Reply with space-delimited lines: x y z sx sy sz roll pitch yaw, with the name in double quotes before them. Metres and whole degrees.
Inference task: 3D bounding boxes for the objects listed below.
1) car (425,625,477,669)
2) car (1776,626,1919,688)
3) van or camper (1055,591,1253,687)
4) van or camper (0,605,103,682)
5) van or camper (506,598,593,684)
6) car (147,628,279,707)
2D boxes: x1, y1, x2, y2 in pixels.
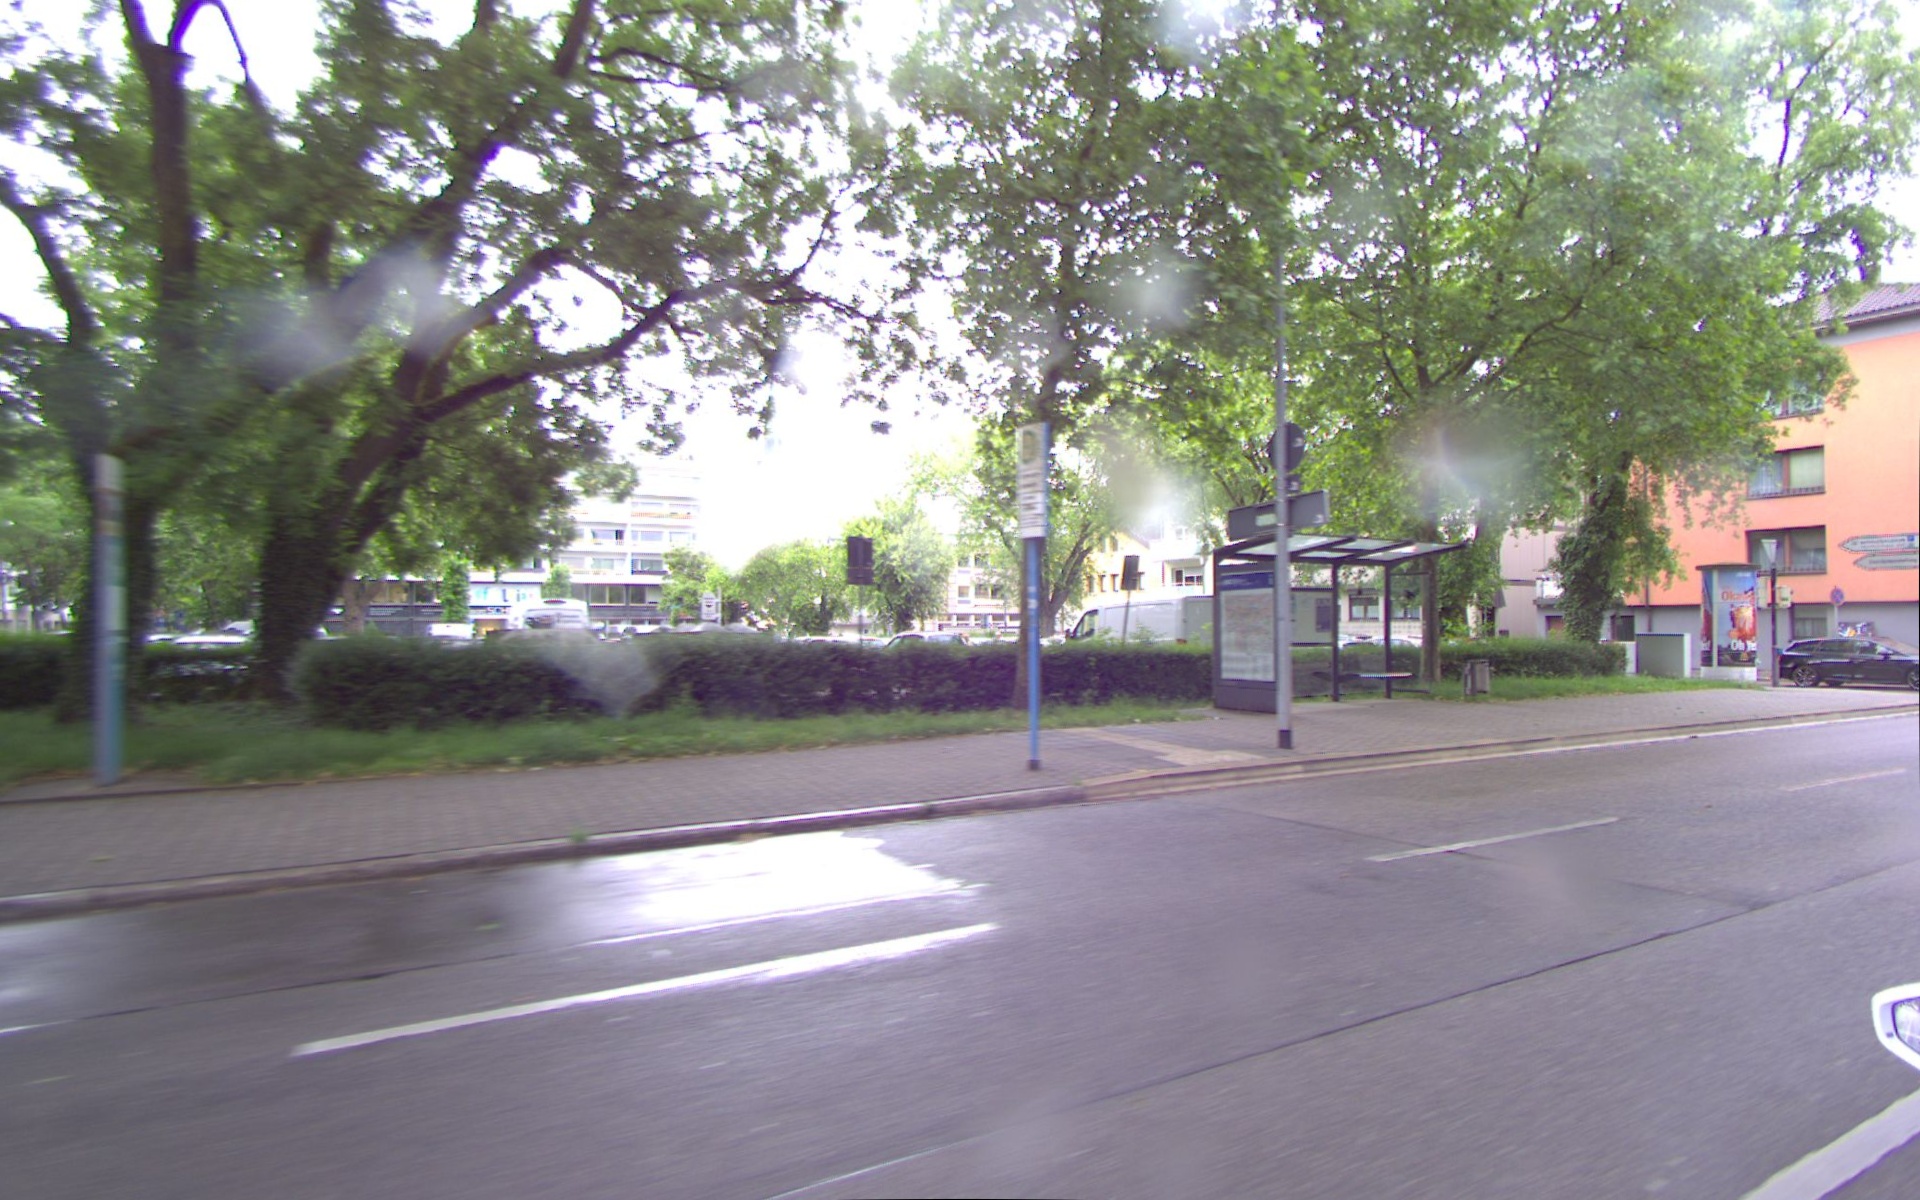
"car" -22.086 2.018 43.551 1.782 1.848 3.969 1 -2 -30
"car" 25.655 1.573 28.020 1.828 1.647 4.110 1 -3 -27
"van or camper" 4.358 0.876 23.295 1.978 1.975 4.572 1 -2 -31
"van or camper" -32.862 1.493 35.255 2.532 2.433 8.587 1 -2 -29
"van or camper" -12.795 1.244 31.146 2.073 2.463 4.310 1 -2 -28
"car" -17.059 1.476 23.143 1.840 1.647 4.022 1 -2 -28
